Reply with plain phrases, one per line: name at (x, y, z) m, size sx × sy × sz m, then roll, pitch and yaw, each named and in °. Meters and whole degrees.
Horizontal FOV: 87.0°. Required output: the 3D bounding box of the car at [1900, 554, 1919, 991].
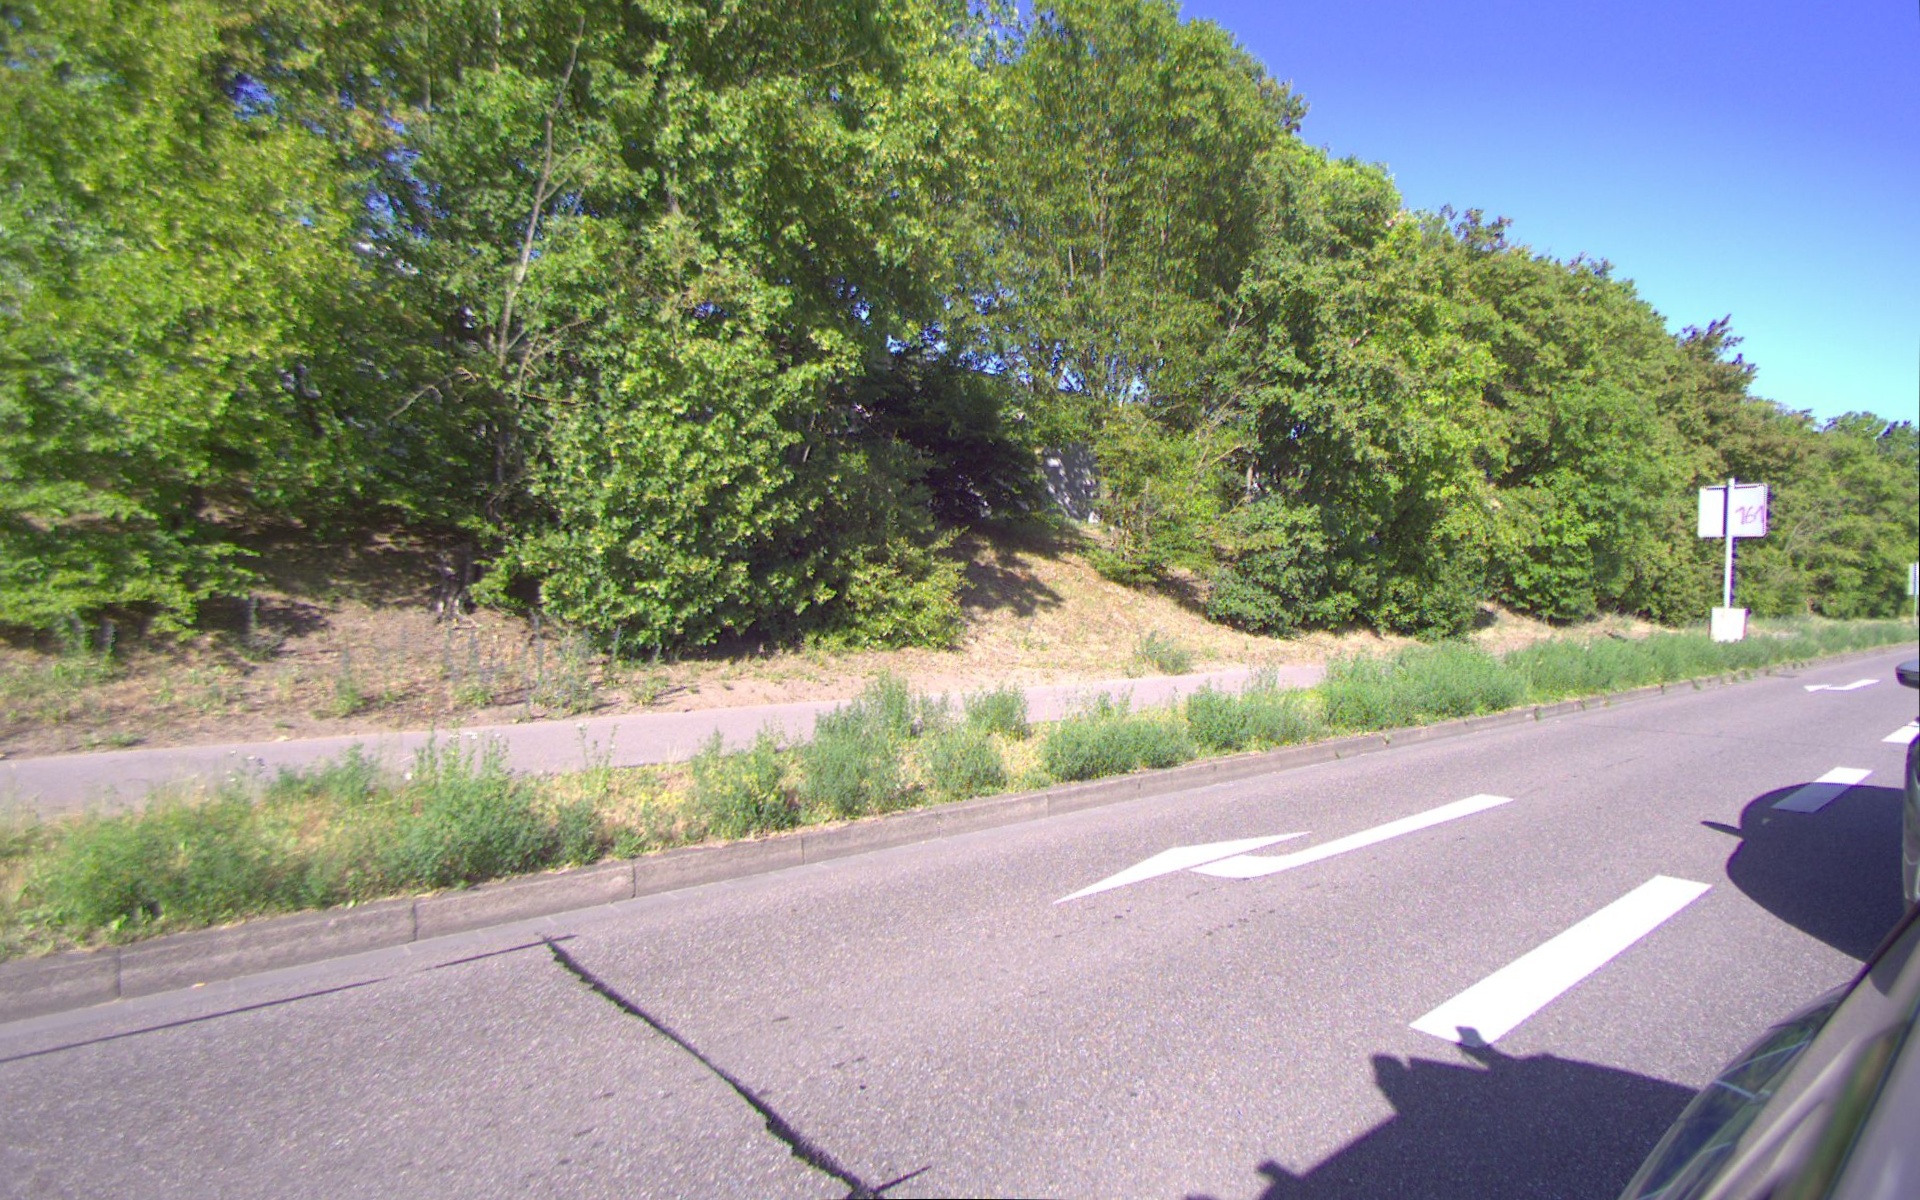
car at (5.579, 0.652, 4.337) m, size 3.863 × 1.617 × 1.869 m, roll 0°, pitch 0°, yaw -41°
